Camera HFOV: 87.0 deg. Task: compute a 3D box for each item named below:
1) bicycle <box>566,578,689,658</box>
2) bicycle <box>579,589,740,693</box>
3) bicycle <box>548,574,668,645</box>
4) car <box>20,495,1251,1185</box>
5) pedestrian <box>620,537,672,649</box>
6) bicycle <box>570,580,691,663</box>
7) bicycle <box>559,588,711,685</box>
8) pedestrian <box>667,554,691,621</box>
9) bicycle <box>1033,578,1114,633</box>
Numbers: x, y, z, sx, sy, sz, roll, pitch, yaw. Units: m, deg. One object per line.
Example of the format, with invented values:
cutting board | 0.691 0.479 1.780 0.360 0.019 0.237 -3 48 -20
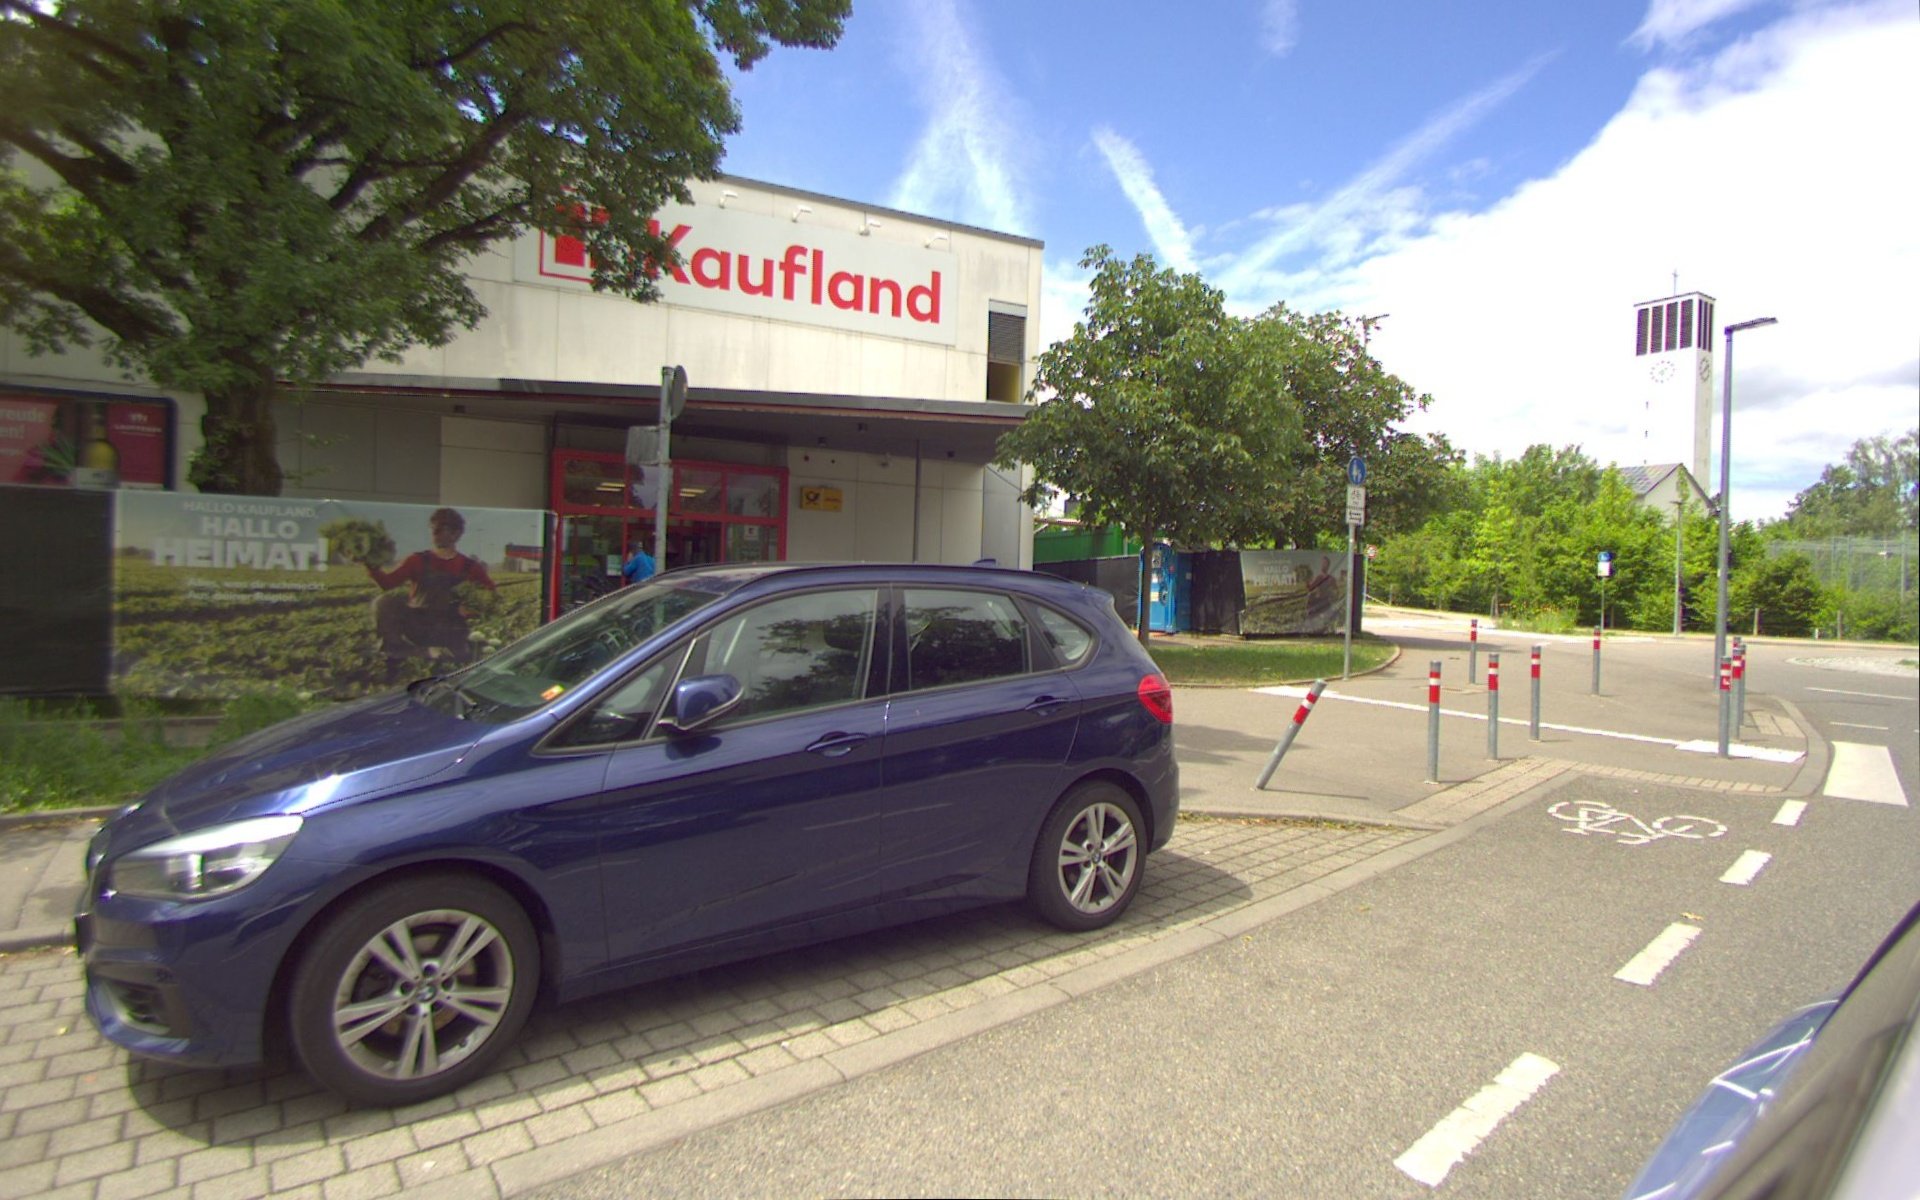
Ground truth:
bicycle | -5.042 0.271 15.386 1.731 1.170 0.440 0 0 -25
bicycle | -3.456 0.462 11.745 1.753 1.170 0.452 1 0 -13
bicycle | -5.925 0.155 17.075 1.873 1.170 0.531 0 0 -20
car | -0.944 0.512 4.381 4.346 1.597 1.923 0 3 -36
pedestrian | -5.131 -0.130 16.523 0.732 1.778 0.626 1 3 -22
bicycle | -4.795 0.302 14.751 1.627 1.170 0.427 0 0 -24
bicycle | -4.008 0.440 12.568 1.736 1.170 0.502 1 0 -9
pedestrian | -6.780 -0.294 24.402 0.485 1.586 0.628 1 0 -23
bicycle | 2.634 0.111 23.599 1.759 1.249 0.707 1 0 32
